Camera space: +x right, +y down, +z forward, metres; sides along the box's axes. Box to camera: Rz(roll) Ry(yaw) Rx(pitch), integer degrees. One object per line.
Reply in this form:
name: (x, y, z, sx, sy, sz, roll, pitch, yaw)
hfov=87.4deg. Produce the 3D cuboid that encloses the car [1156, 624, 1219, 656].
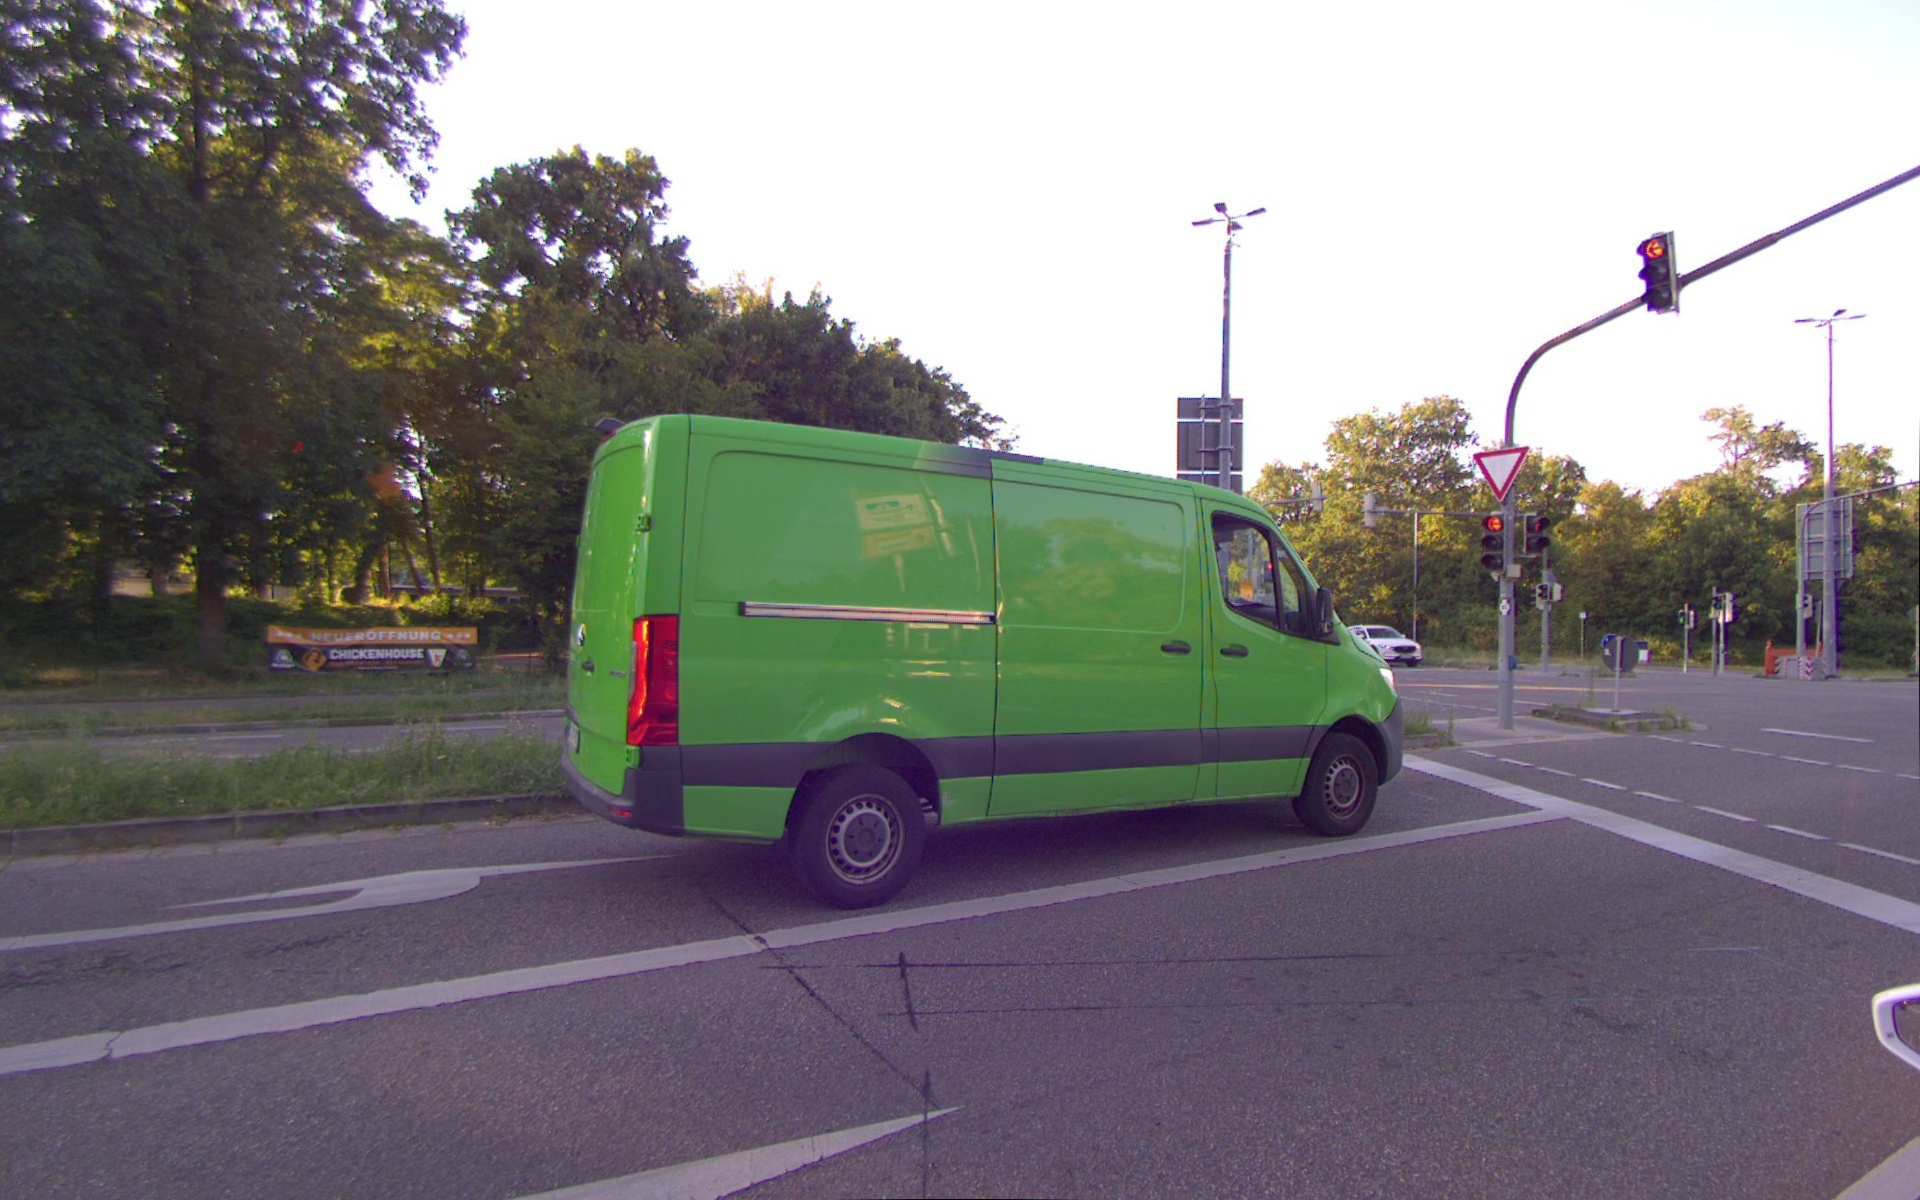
car: (12.690, 2.214, 56.200, 1.964, 1.661, 4.250, 1, -1, -10)

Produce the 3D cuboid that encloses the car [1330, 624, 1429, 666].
car: (17.500, 1.846, 42.105, 1.963, 1.661, 4.252, 1, -1, -8)

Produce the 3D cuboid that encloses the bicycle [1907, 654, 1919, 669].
bicycle: (53.086, 3.405, 55.461, 1.084, 0.836, 0.413, 0, -1, 20)

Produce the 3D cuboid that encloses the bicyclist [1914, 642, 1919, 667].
bicyclist: (53.098, 3.003, 55.462, 0.509, 1.406, 0.407, 0, -1, 19)

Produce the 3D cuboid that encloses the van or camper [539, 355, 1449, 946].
van or camper: (0.542, 0.288, 6.566, 5.830, 2.453, 1.983, 2, -1, -32)

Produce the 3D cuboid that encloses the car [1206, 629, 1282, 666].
car: (13.503, 2.224, 48.047, 1.963, 1.661, 4.252, 1, -1, -8)

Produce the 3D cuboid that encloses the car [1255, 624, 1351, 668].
car: (13.813, 1.812, 40.699, 1.963, 1.661, 4.252, 1, -1, -8)
